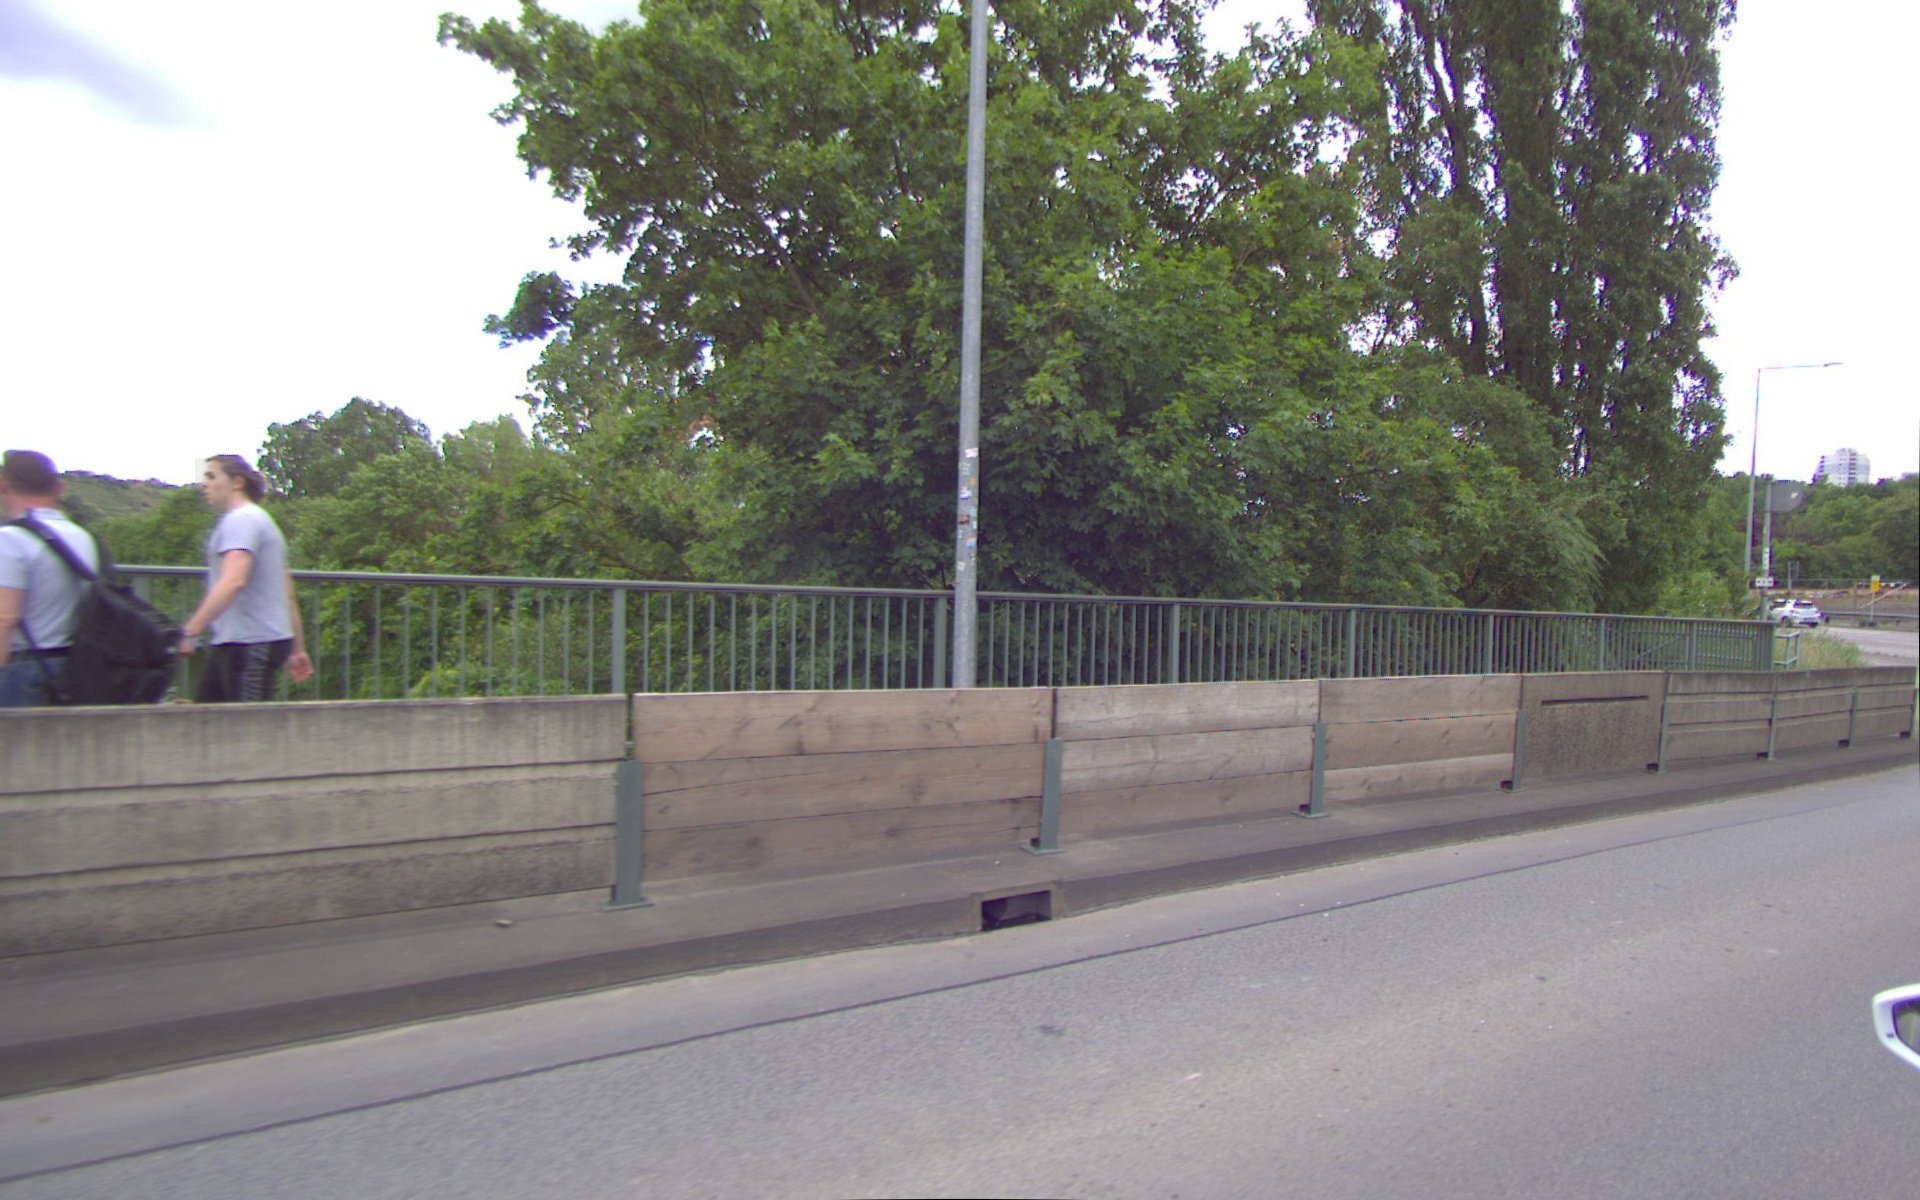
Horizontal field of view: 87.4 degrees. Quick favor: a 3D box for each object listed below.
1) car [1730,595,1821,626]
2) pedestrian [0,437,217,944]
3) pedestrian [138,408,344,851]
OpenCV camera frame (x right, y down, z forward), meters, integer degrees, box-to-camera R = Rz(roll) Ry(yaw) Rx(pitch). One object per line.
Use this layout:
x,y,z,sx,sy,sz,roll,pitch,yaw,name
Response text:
46.148,0.557,56.969,1.652,1.628,4.309,0,1,0,car
-3.301,0.303,3.798,0.714,1.724,0.717,0,2,-31,pedestrian
-3.327,0.121,4.718,0.714,1.864,0.717,0,2,-31,pedestrian
